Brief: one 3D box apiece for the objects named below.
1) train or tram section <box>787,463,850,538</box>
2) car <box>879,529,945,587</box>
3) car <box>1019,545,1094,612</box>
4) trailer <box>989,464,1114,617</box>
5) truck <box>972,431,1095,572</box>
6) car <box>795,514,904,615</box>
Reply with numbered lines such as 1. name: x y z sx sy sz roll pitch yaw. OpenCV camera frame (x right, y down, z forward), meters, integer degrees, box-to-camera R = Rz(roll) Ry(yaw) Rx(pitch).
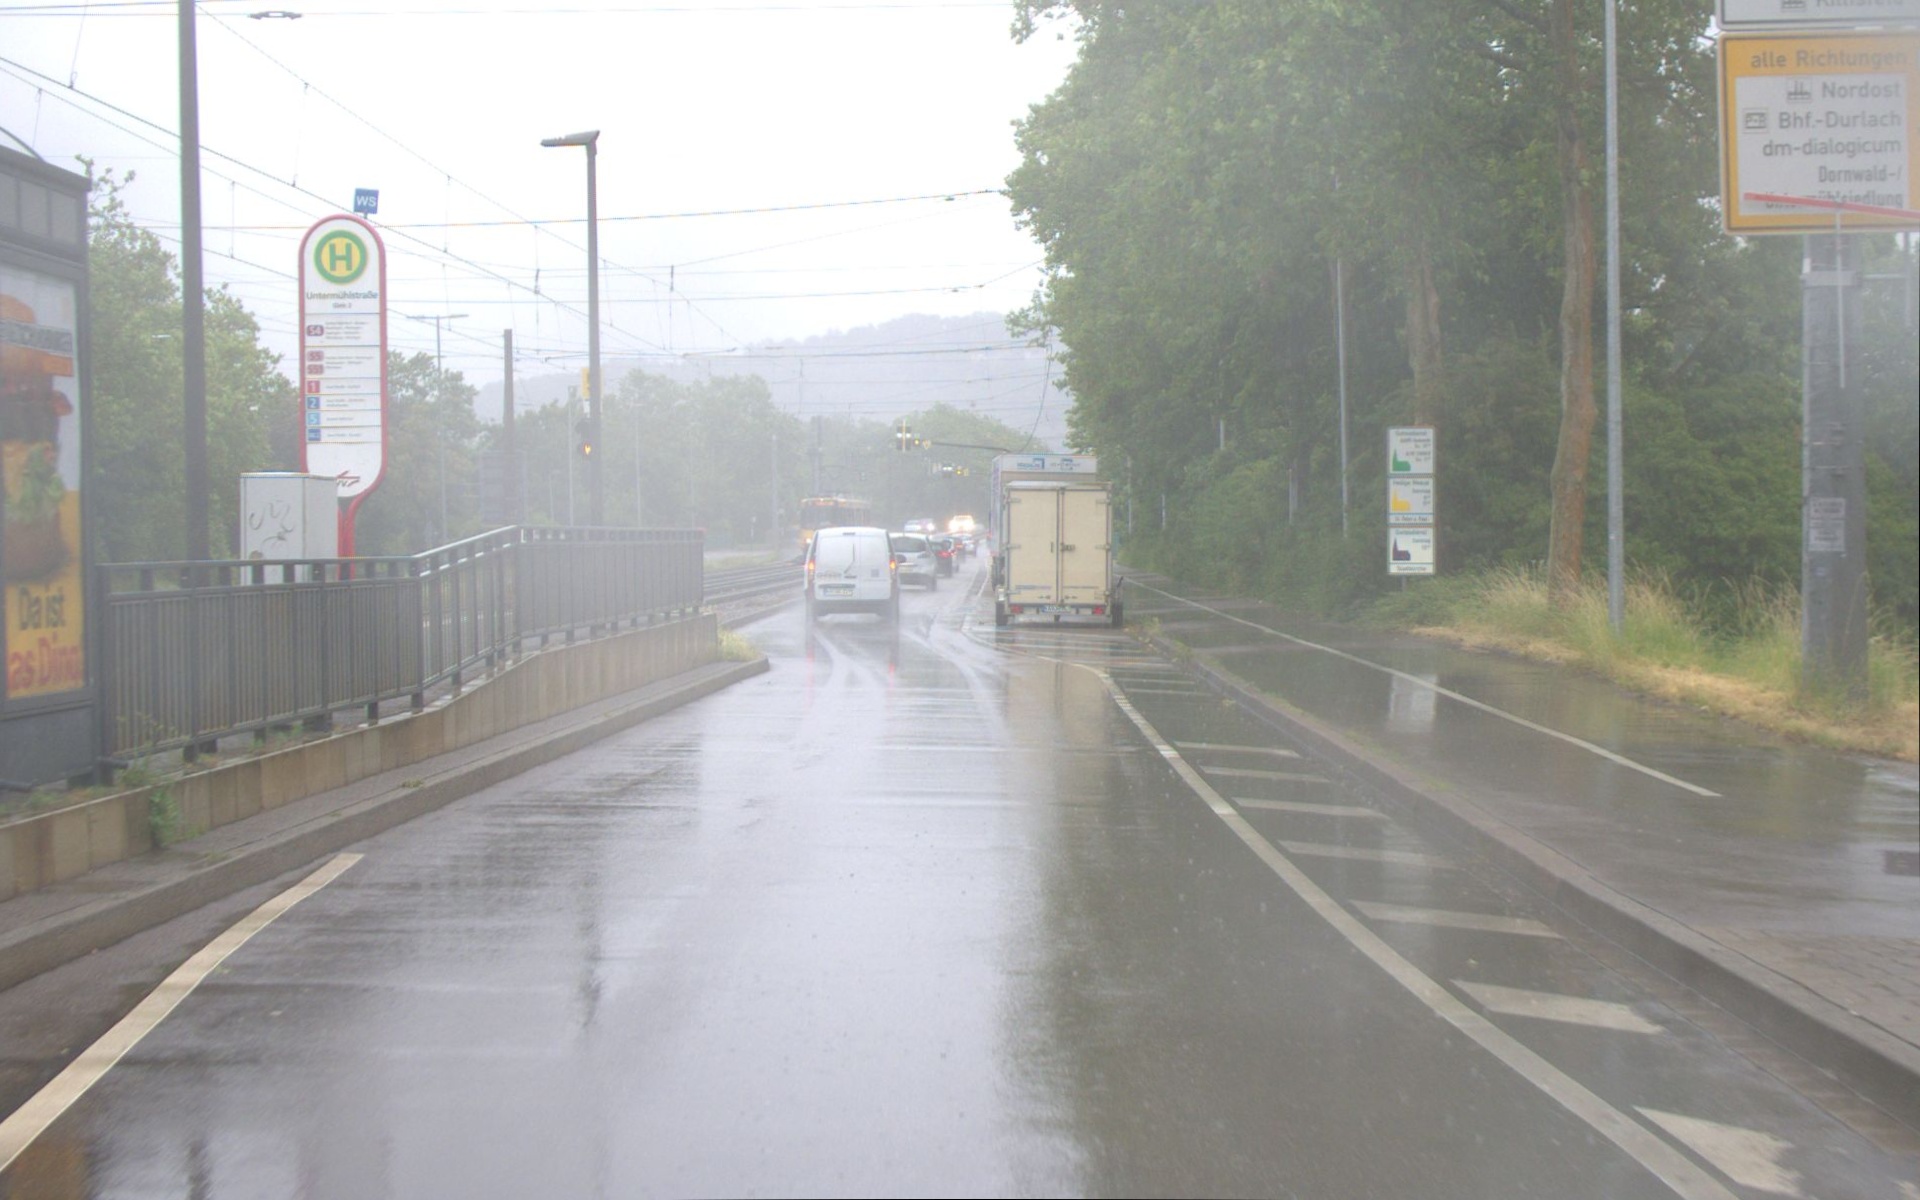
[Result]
1. train or tram section: -8.040 -5.624 196.663 2.807 4.135 13.019 0 1 1
2. car: -1.364 -1.209 99.100 1.786 1.637 3.968 0 1 1
3. car: 2.324 -0.535 82.073 1.713 1.524 4.000 0 1 3
4. trailer: 1.758 -1.094 64.339 2.166 2.748 5.676 0 1 3
5. truck: 1.960 -2.642 95.565 2.775 3.691 9.853 0 1 -2
6. car: -2.114 -0.694 64.996 1.993 1.842 4.001 0 1 -3
